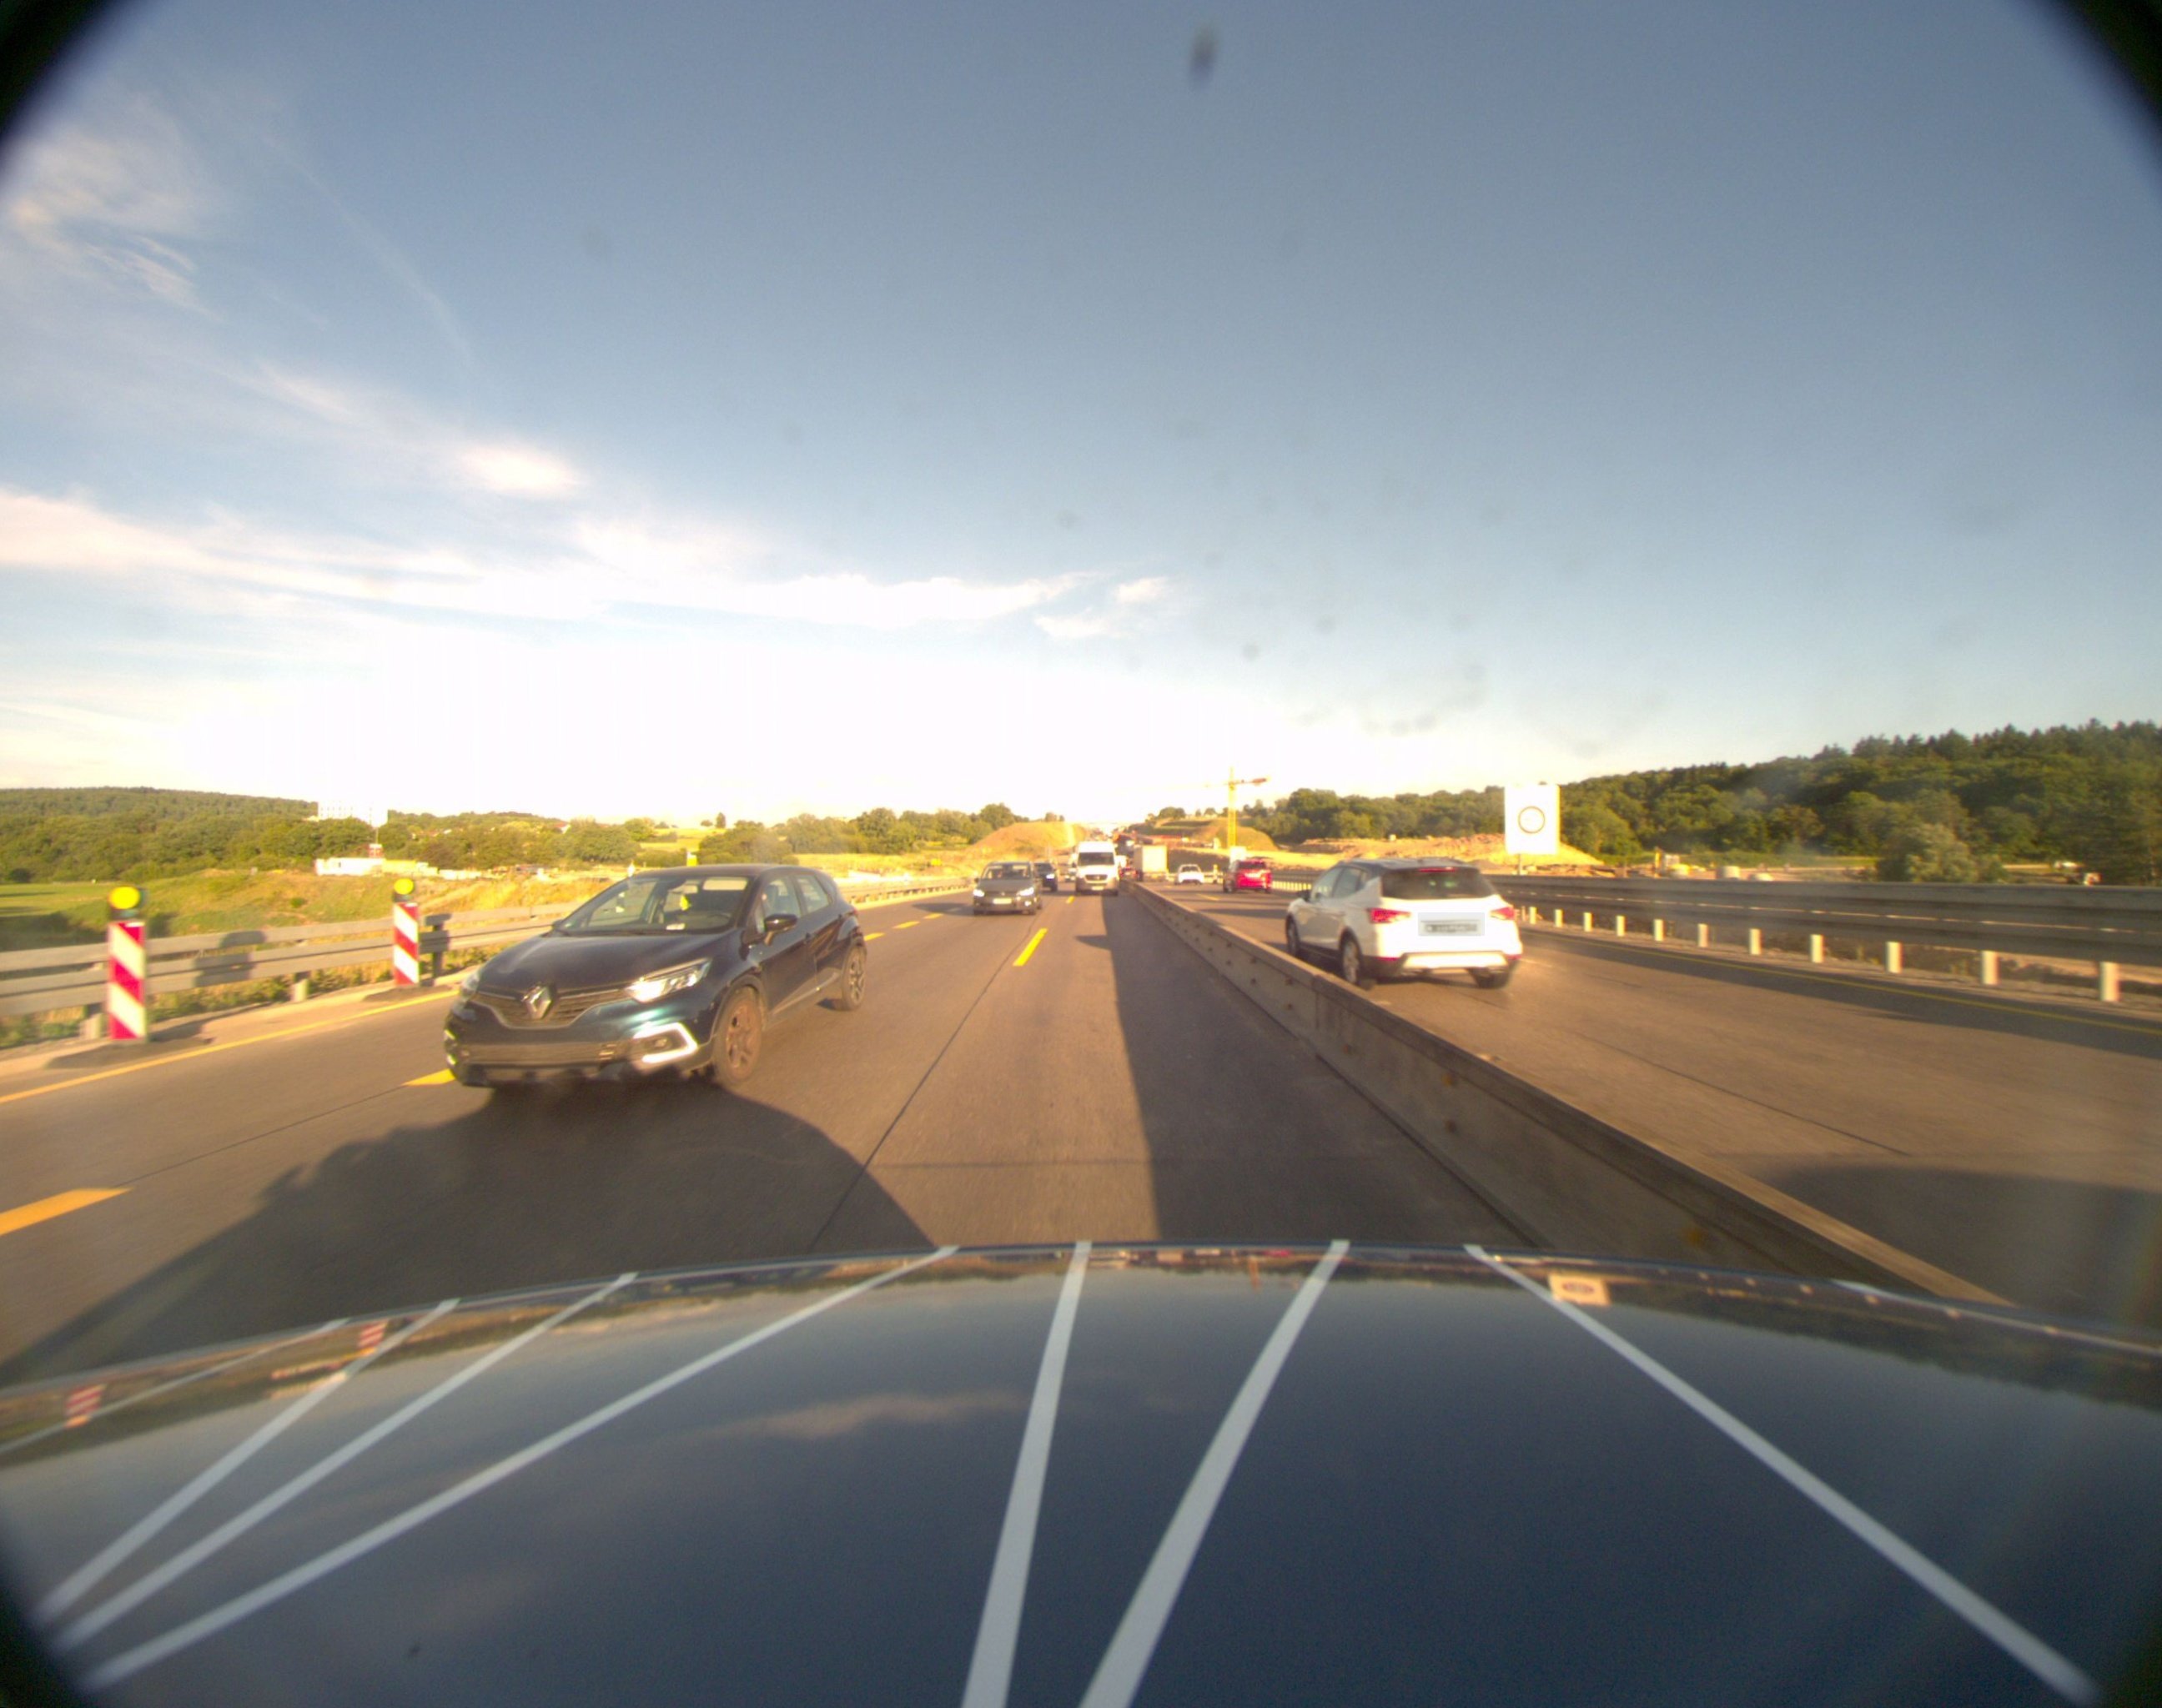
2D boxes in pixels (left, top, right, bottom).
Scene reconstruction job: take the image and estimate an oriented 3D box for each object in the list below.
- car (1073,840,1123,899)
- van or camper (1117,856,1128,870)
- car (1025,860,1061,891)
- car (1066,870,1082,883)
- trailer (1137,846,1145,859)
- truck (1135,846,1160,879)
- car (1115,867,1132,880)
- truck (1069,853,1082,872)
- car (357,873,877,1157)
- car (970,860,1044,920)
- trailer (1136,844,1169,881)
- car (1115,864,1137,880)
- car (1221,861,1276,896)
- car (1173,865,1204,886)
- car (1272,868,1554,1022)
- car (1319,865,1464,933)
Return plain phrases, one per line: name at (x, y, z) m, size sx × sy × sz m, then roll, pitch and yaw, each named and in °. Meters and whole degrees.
car at (0.769, 0.719, 35.169) m, size 2.110 × 2.517 × 5.221 m, roll -1°, pitch -1°, yaw 1°
van or camper at (10.468, 2.315, 191.964) m, size 2.464 × 3.477 × 7.415 m, roll -1°, pitch -1°, yaw 0°
car at (-2.164, 1.243, 44.556) m, size 1.902 × 1.703 × 4.888 m, roll -1°, pitch -1°, yaw -1°
car at (-0.837, 2.746, 92.169) m, size 1.791 × 1.477 × 4.001 m, roll -2°, pitch -2°, yaw 0°
trailer at (19.863, -0.438, 251.870) m, size 2.779 × 4.007 × 13.688 m, roll 0°, pitch -1°, yaw 4°
truck at (8.439, 1.120, 96.302) m, size 2.821 × 4.024 × 5.673 m, roll 0°, pitch -1°, yaw 2°
car at (5.292, 2.391, 95.680) m, size 1.998 × 1.609 × 4.606 m, roll 0°, pitch -1°, yaw 1°
truck at (-1.192, 1.748, 159.981) m, size 2.264 × 3.704 × 6.572 m, roll -3°, pitch -1°, yaw -2°
car at (-3.245, 0.988, 6.459) m, size 1.778 × 1.576 × 4.136 m, roll -1°, pitch -1°, yaw 2°
car at (-2.173, 1.021, 23.541) m, size 1.817 × 1.605 × 4.526 m, roll -2°, pitch -1°, yaw -1°
trailer at (8.271, 1.006, 89.690) m, size 2.821 × 4.026 × 14.024 m, roll 0°, pitch -1°, yaw 1°
car at (4.757, 1.942, 81.021) m, size 1.998 × 1.635 × 4.512 m, roll -1°, pitch -1°, yaw 0°
car at (7.858, 1.150, 35.940) m, size 1.784 × 1.561 × 4.001 m, roll 0°, pitch -1°, yaw 1°
car at (7.884, 1.562, 55.934) m, size 1.705 × 1.437 × 4.001 m, roll 0°, pitch -1°, yaw 1°
car at (3.827, 0.952, 9.613) m, size 1.809 × 1.502 × 4.000 m, roll -1°, pitch -1°, yaw 0°
car at (7.330, 1.010, 18.463) m, size 1.681 × 1.414 × 4.580 m, roll -1°, pitch -1°, yaw 1°
